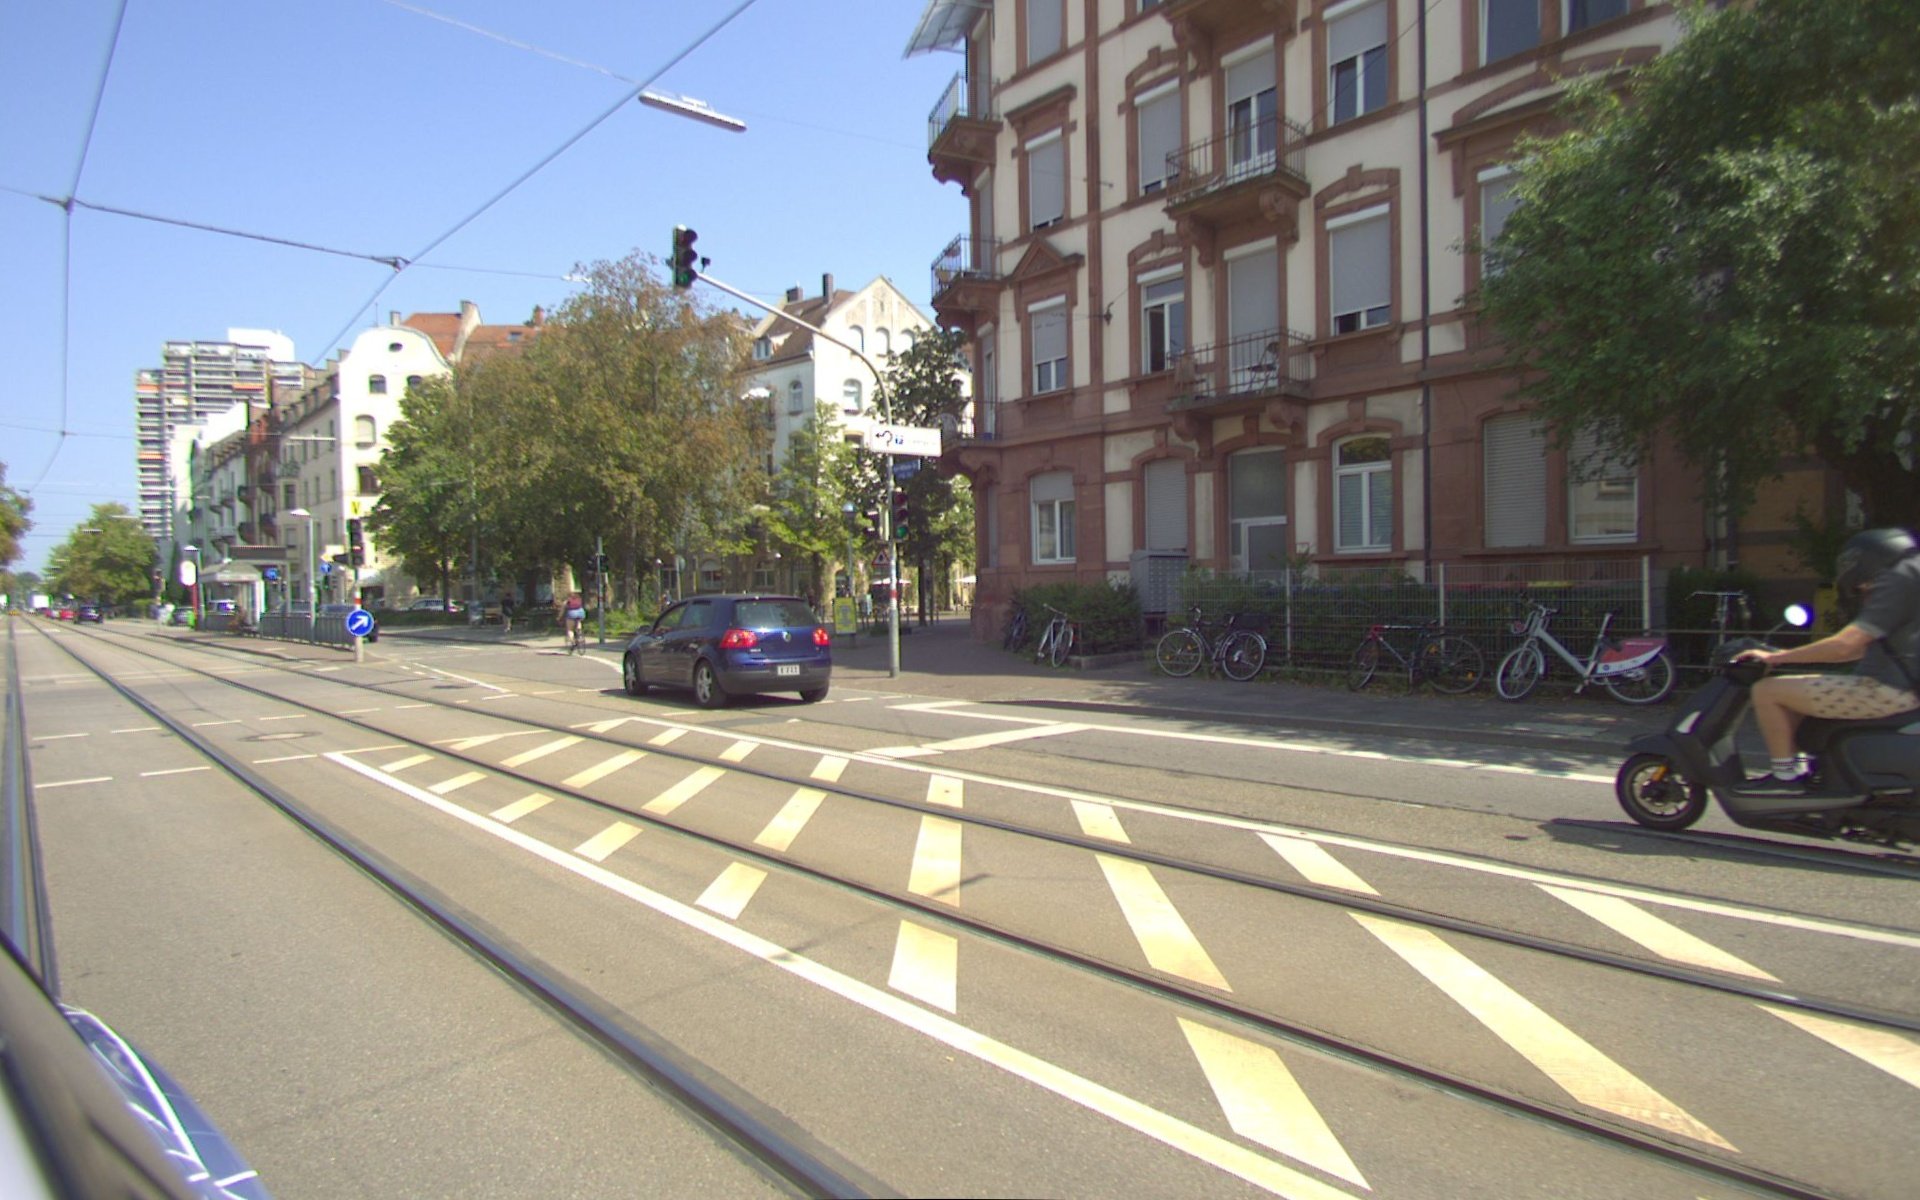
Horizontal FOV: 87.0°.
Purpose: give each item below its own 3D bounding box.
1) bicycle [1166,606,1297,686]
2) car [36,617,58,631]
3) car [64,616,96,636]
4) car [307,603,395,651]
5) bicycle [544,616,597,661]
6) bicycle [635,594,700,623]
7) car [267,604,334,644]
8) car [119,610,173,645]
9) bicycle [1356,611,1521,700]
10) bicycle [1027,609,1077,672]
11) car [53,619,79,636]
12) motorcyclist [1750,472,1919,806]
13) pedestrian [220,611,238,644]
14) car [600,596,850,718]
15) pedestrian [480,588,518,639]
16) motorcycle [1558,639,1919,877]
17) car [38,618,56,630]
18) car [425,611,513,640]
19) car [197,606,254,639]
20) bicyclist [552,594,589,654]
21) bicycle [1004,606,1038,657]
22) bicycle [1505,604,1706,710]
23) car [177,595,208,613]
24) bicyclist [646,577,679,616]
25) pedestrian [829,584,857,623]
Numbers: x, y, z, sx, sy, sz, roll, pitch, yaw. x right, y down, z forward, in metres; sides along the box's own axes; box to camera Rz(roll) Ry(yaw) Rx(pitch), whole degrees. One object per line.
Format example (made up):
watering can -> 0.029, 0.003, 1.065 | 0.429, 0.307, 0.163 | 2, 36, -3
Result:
bicycle -> 3.733, 0.620, 14.043 | 0.481, 1.029, 1.780 | -2, 0, -40
car -> -115.036, 3.025, 127.473 | 1.970, 1.739, 4.636 | 0, -1, -43
car -> -77.530, 2.284, 89.150 | 1.970, 1.739, 4.636 | 0, -1, -43
car -> -22.564, 0.988, 37.404 | 1.969, 1.660, 4.637 | 0, -1, -42
bicycle -> -9.750, 0.954, 25.297 | 0.574, 1.074, 1.845 | -1, 0, -43
bicycle -> -15.573, 0.466, 53.902 | 3.470, 1.447, 1.211 | -2, 0, 29
car -> -29.670, 1.076, 45.452 | 1.969, 1.660, 4.638 | 0, -1, -40
car -> -43.364, 1.436, 53.854 | 1.969, 1.739, 4.636 | 0, -1, -42
bicycle -> 5.528, 0.620, 11.766 | 0.481, 0.949, 1.659 | -2, 0, -40
bicycle -> 1.581, 0.673, 17.625 | 0.481, 1.005, 1.832 | -2, 0, -6
car -> -97.586, 2.999, 110.458 | 1.970, 1.739, 4.636 | 0, -1, -43
motorcyclist -> 4.481, 0.174, 5.005 | 0.681, 1.523, 0.773 | -2, 0, -42
pedestrian -> -28.104, 1.061, 38.909 | 0.473, 1.260, 0.649 | -1, 0, -42
car -> -3.417, 0.694, 14.150 | 1.705, 1.444, 4.183 | 0, -1, -40
pedestrian -> -18.754, 0.540, 41.165 | 1.079, 2.028, 1.037 | -3, 2, -44
motorcycle -> 4.368, 0.749, 5.148 | 0.683, 1.039, 2.160 | -2, 0, -43
car -> -136.059, 3.566, 150.748 | 1.970, 1.739, 4.636 | 0, -1, -43
car -> -30.662, 1.574, 63.337 | 4.566, 1.739, 2.000 | -1, -1, 1
car -> -40.863, 1.264, 56.277 | 1.970, 1.739, 4.635 | 0, -1, -43
bicyclist -> -9.713, 0.596, 25.249 | 0.574, 1.481, 0.777 | -1, -1, -44
bicycle -> 1.245, 0.627, 20.933 | 0.388, 1.005, 1.681 | -2, 0, -6
bicycle -> 6.588, 0.554, 10.402 | 0.481, 0.994, 1.659 | -2, 0, -40
car -> -75.950, 0.400, 100.126 | 1.970, 1.739, 4.636 | 0, -1, -43
bicyclist -> -15.886, -0.199, 54.059 | 1.206, 2.029, 1.198 | 0, 1, 29
pedestrian -> -6.333, 0.202, 54.632 | 1.020, 2.028, 1.097 | -3, 2, -38
